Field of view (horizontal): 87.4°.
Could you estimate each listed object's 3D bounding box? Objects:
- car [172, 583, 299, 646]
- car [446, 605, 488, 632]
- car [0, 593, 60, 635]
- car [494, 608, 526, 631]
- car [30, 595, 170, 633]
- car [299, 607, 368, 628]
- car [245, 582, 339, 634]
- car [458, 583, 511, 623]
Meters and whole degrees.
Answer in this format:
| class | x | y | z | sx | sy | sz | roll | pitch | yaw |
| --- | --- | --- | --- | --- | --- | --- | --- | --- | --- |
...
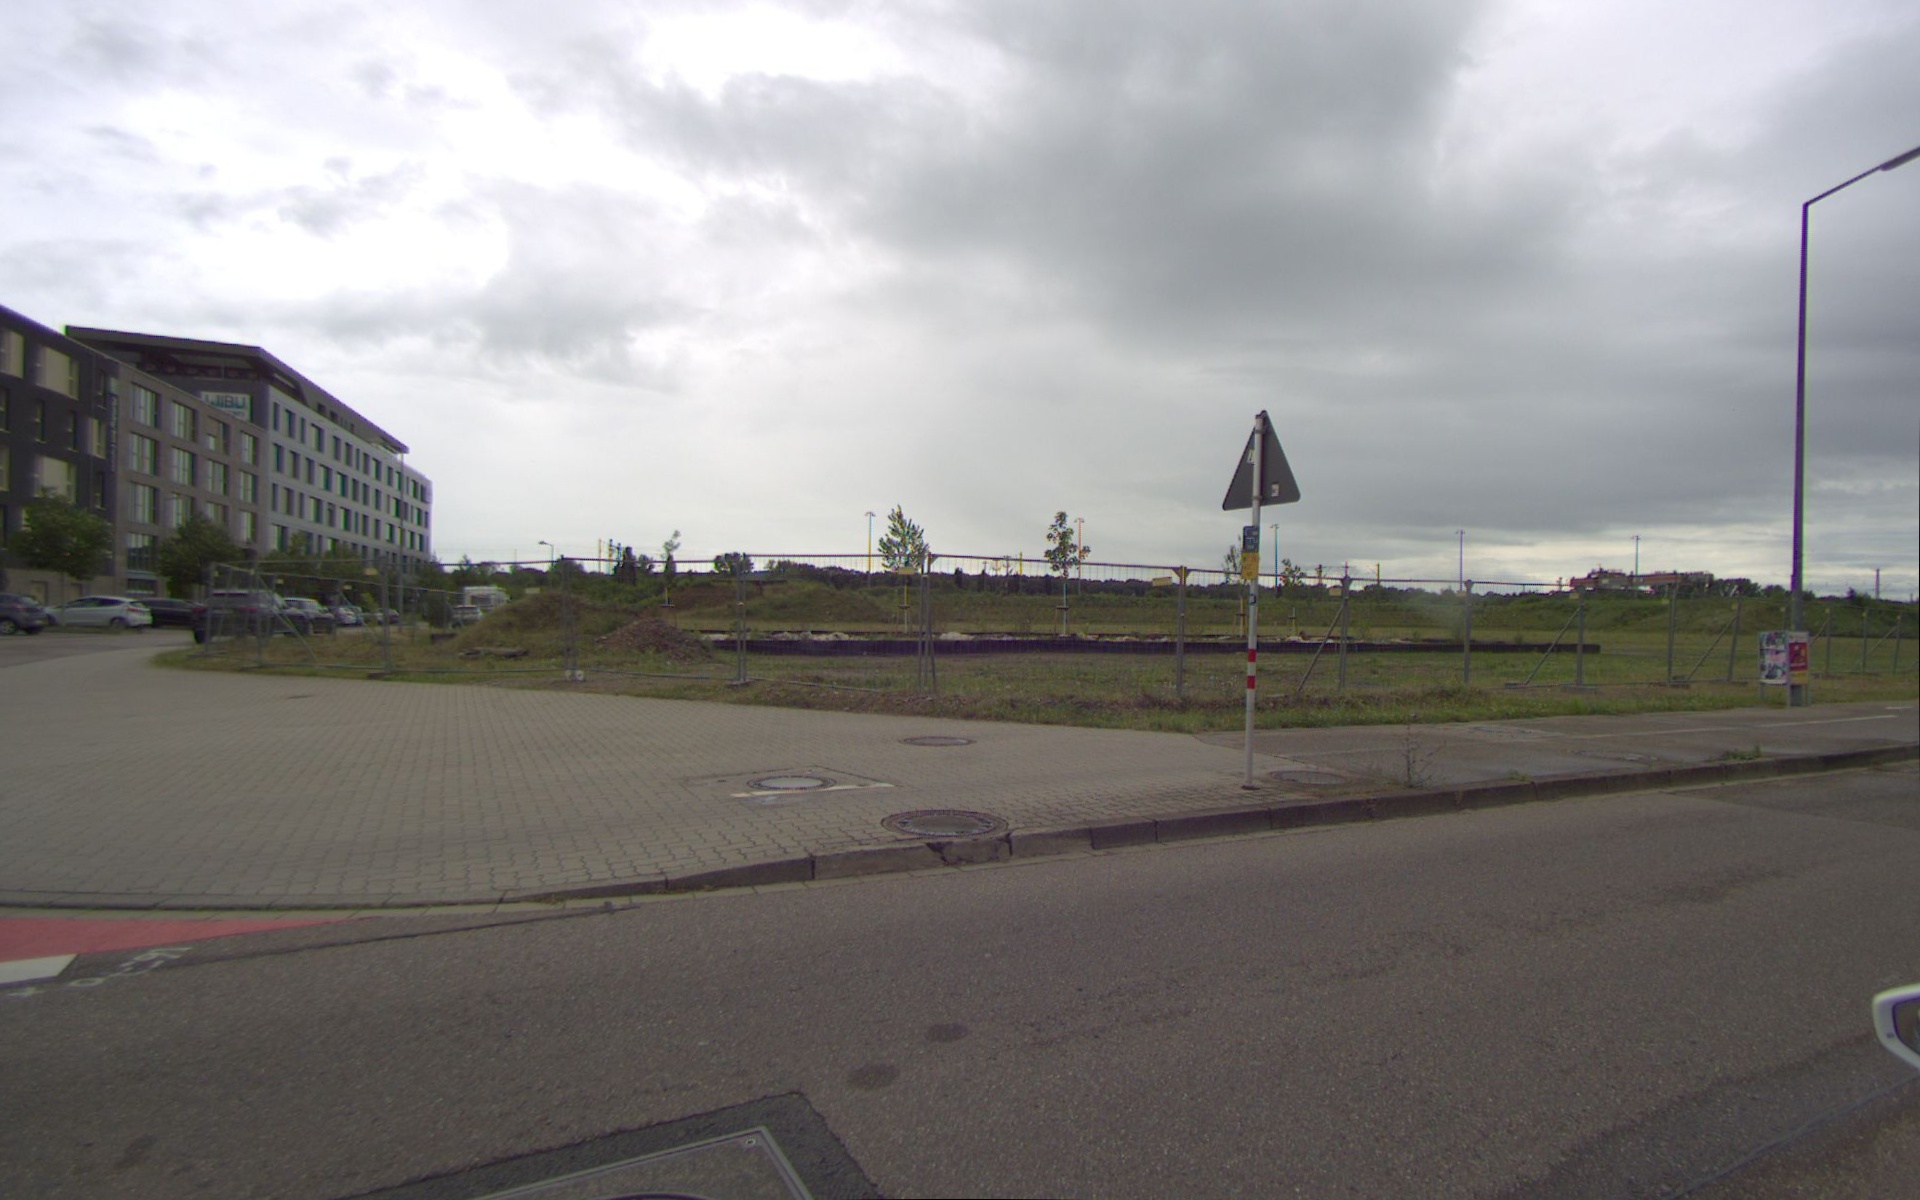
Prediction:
| class | x | y | z | sx | sy | sz | roll | pitch | yaw |
| --- | --- | --- | --- | --- | --- | --- | --- | --- | --- |
| car | -22.579 | 0.442 | 31.491 | 1.967 | 1.847 | 3.986 | 0 | 0 | -16 |
| car | -34.064 | 1.248 | 69.505 | 1.968 | 1.770 | 3.985 | 0 | 0 | -17 |
| car | -34.575 | 0.486 | 35.368 | 3.938 | 1.461 | 1.691 | 0 | 0 | -19 |
| car | -38.367 | 1.668 | 85.779 | 1.968 | 1.862 | 4.509 | 1 | -1 | -18 |
| car | -36.320 | 0.576 | 42.557 | 4.097 | 1.538 | 1.987 | 0 | 0 | -25 |
| car | -45.829 | 1.281 | 73.570 | 3.940 | 1.478 | 1.737 | 1 | -1 | -21 |
| car | -24.332 | 0.292 | 36.703 | 1.775 | 1.776 | 3.664 | 0 | 0 | -15 |
| car | -36.487 | 0.255 | 77.284 | 2.670 | 2.996 | 6.553 | 0 | 0 | -17 |
